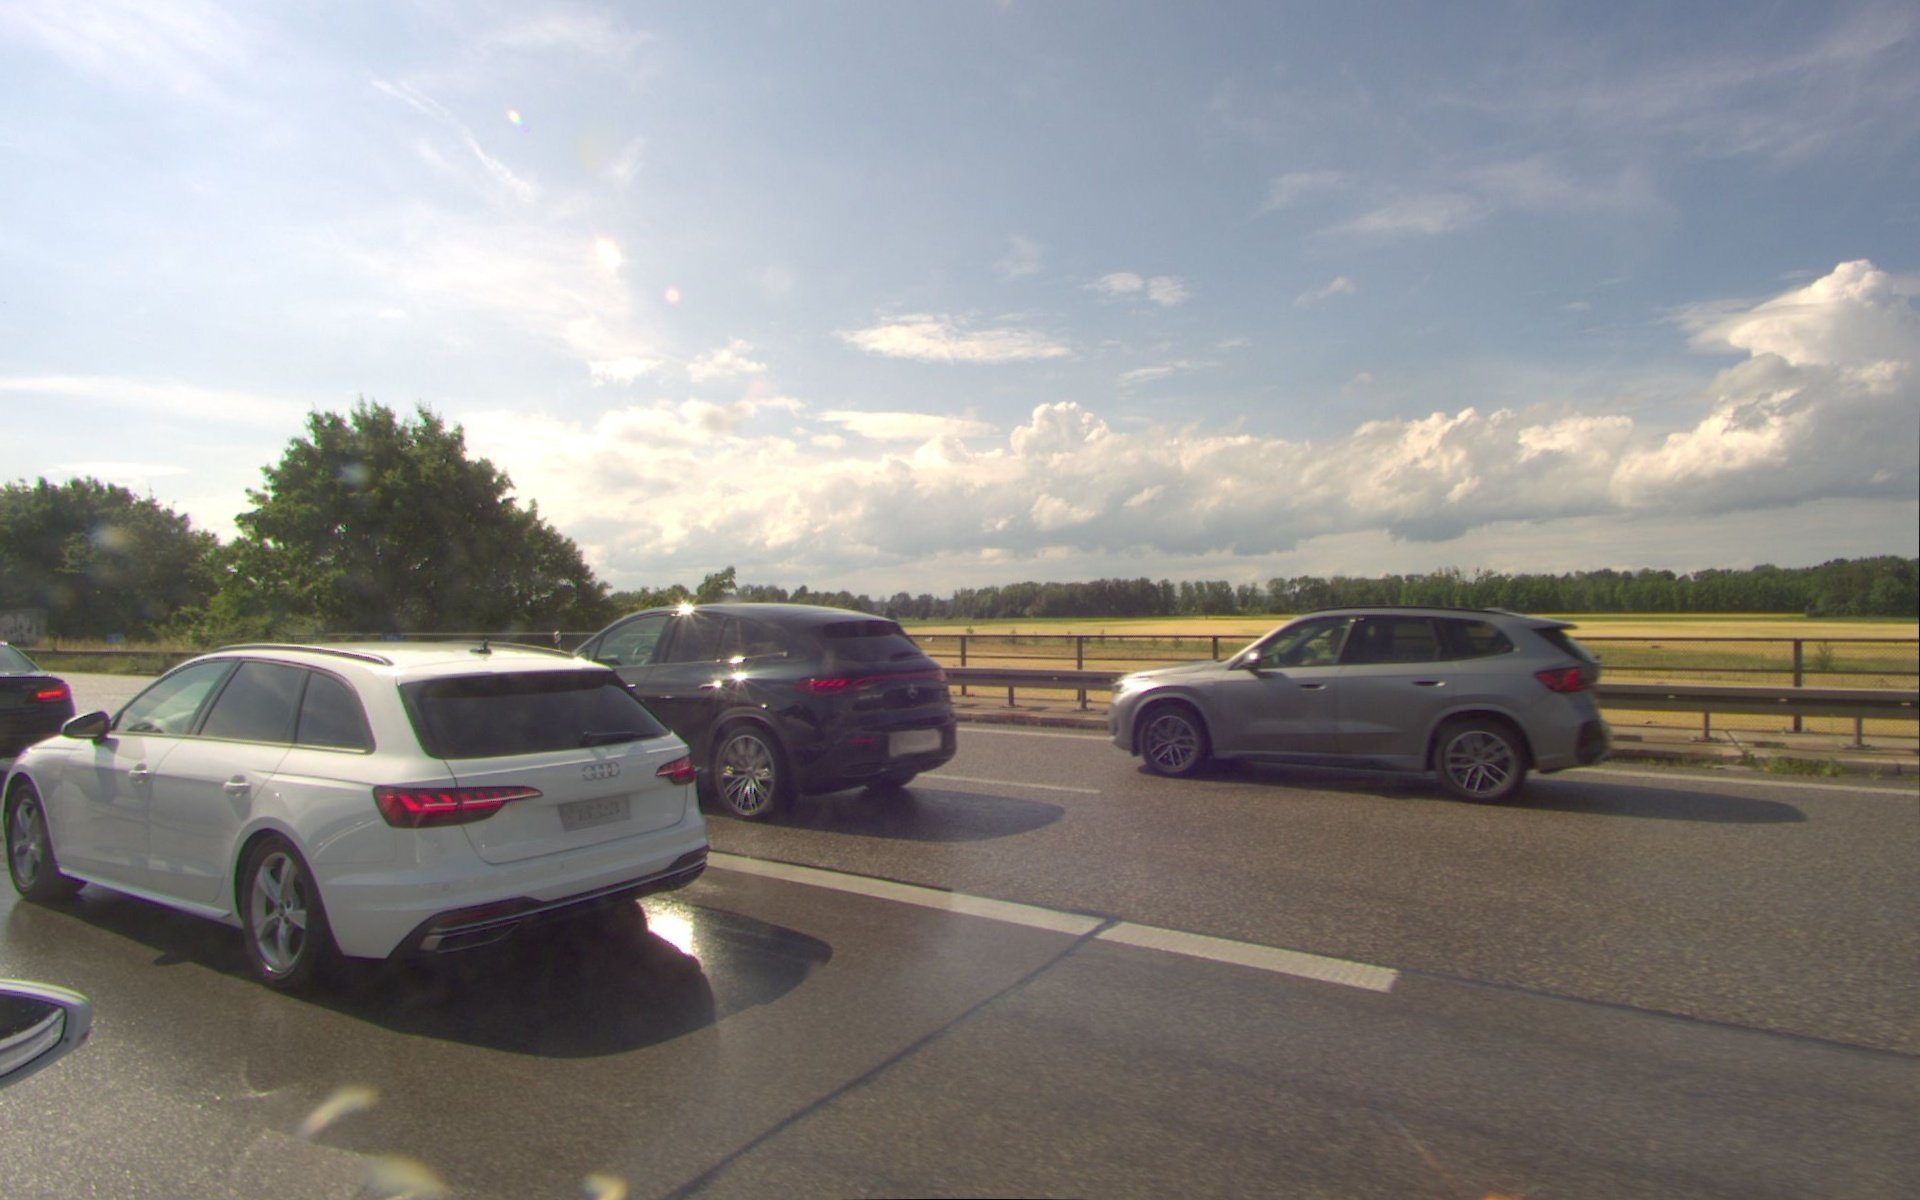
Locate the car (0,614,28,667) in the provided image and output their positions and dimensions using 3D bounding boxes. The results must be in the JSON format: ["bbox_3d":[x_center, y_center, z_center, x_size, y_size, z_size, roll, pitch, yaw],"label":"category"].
[{"bbox_3d":[-31.539,1.266,31.822,4.302,1.641,1.817,-1,-2,33],"label":"car"}]

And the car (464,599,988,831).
[{"bbox_3d":[-2.213,0.840,9.006,4.588,1.601,1.989,-1,-1,33],"label":"car"}]

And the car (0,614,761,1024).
[{"bbox_3d":[-3.389,0.906,5.483,4.446,1.442,1.825,-2,-4,31],"label":"car"}]

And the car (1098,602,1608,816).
[{"bbox_3d":[3.592,0.890,9.459,4.227,1.606,1.745,-1,-2,34],"label":"car"}]

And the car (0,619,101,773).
[{"bbox_3d":[-11.105,0.968,10.618,4.194,1.483,1.845,-1,-1,32],"label":"car"}]
